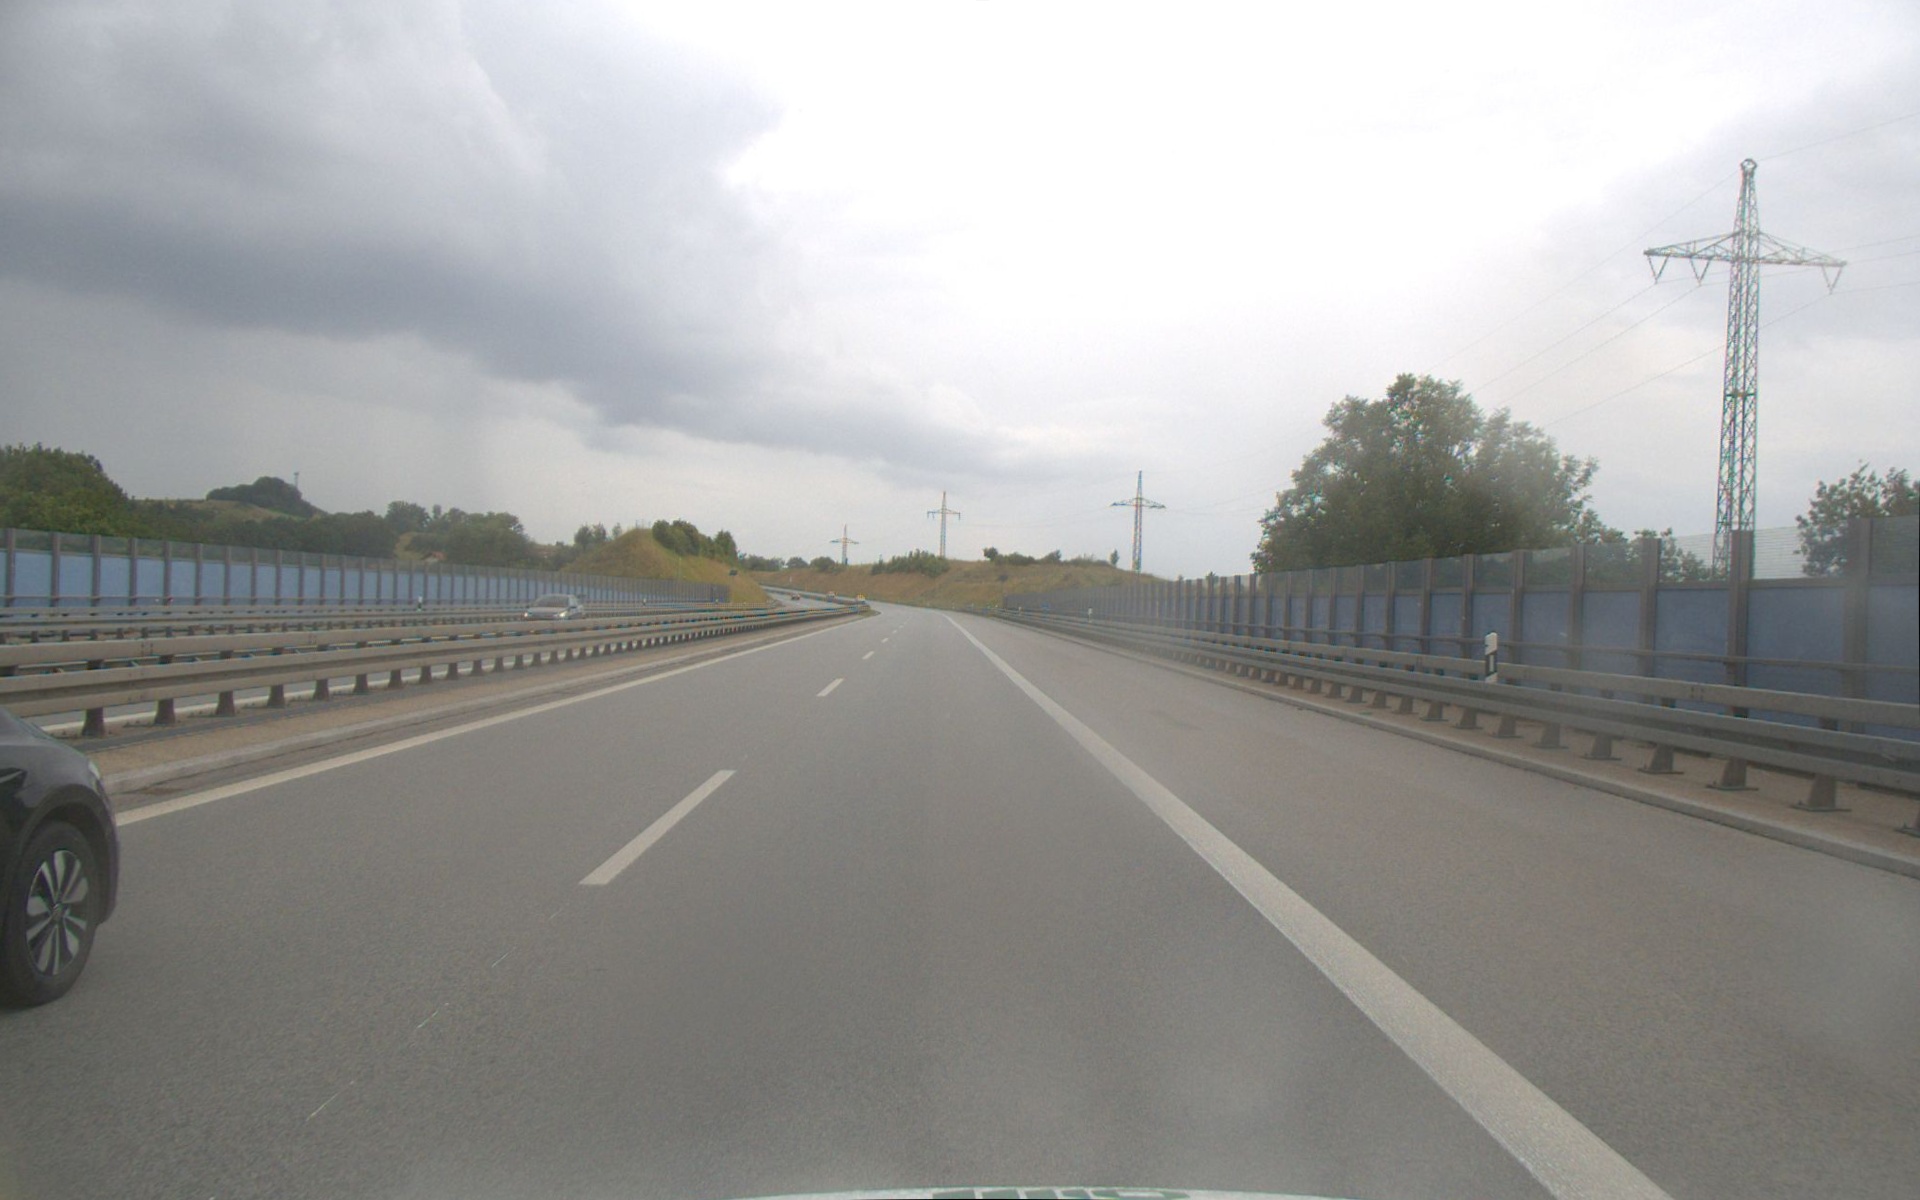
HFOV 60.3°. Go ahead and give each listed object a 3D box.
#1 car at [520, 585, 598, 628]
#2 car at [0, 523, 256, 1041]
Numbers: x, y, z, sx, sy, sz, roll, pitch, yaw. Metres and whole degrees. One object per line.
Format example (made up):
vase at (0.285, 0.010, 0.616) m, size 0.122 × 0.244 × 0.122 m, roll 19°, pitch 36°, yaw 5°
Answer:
car at (-15.300, 0.238, 63.330) m, size 1.953 × 1.541 × 4.286 m, roll 1°, pitch 0°, yaw -1°
car at (-4.058, 0.581, 4.687) m, size 1.857 × 1.700 × 5.395 m, roll 1°, pitch 0°, yaw -1°
